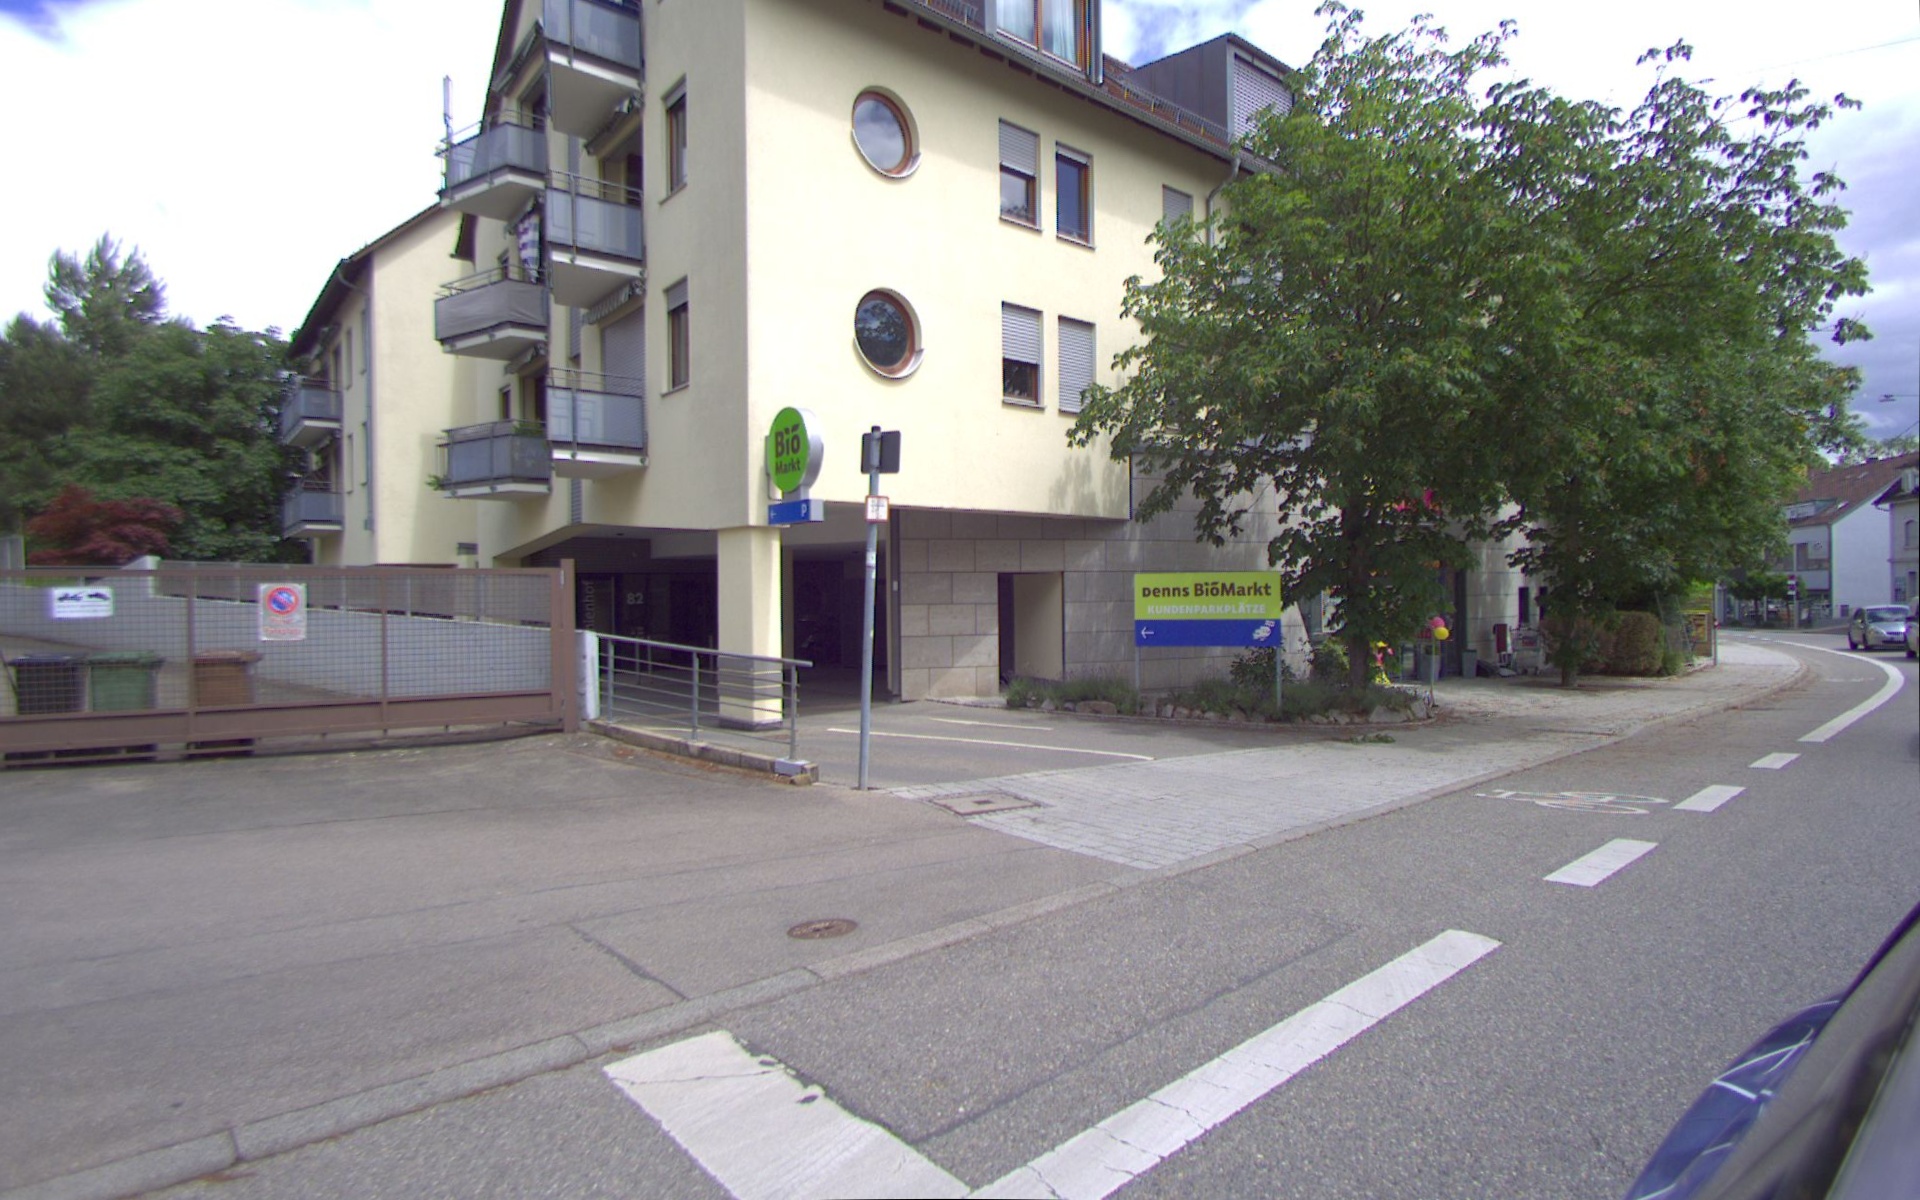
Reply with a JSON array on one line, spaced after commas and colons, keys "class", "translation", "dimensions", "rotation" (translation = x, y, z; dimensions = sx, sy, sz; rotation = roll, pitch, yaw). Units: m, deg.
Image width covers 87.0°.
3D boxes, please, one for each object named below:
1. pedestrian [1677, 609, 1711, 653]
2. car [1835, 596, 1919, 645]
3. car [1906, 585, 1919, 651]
[{"class": "pedestrian", "translation": [22.265, 0.921, 30.690], "dimensions": [0.729, 1.317, 0.742], "rotation": [-1, -1, 45]}, {"class": "car", "translation": [31.225, 0.648, 34.012], "dimensions": [1.677, 1.505, 3.964], "rotation": [-3, -1, 26]}, {"class": "car", "translation": [27.380, 0.463, 27.604], "dimensions": [1.843, 1.839, 3.945], "rotation": [-4, -2, 38]}]
